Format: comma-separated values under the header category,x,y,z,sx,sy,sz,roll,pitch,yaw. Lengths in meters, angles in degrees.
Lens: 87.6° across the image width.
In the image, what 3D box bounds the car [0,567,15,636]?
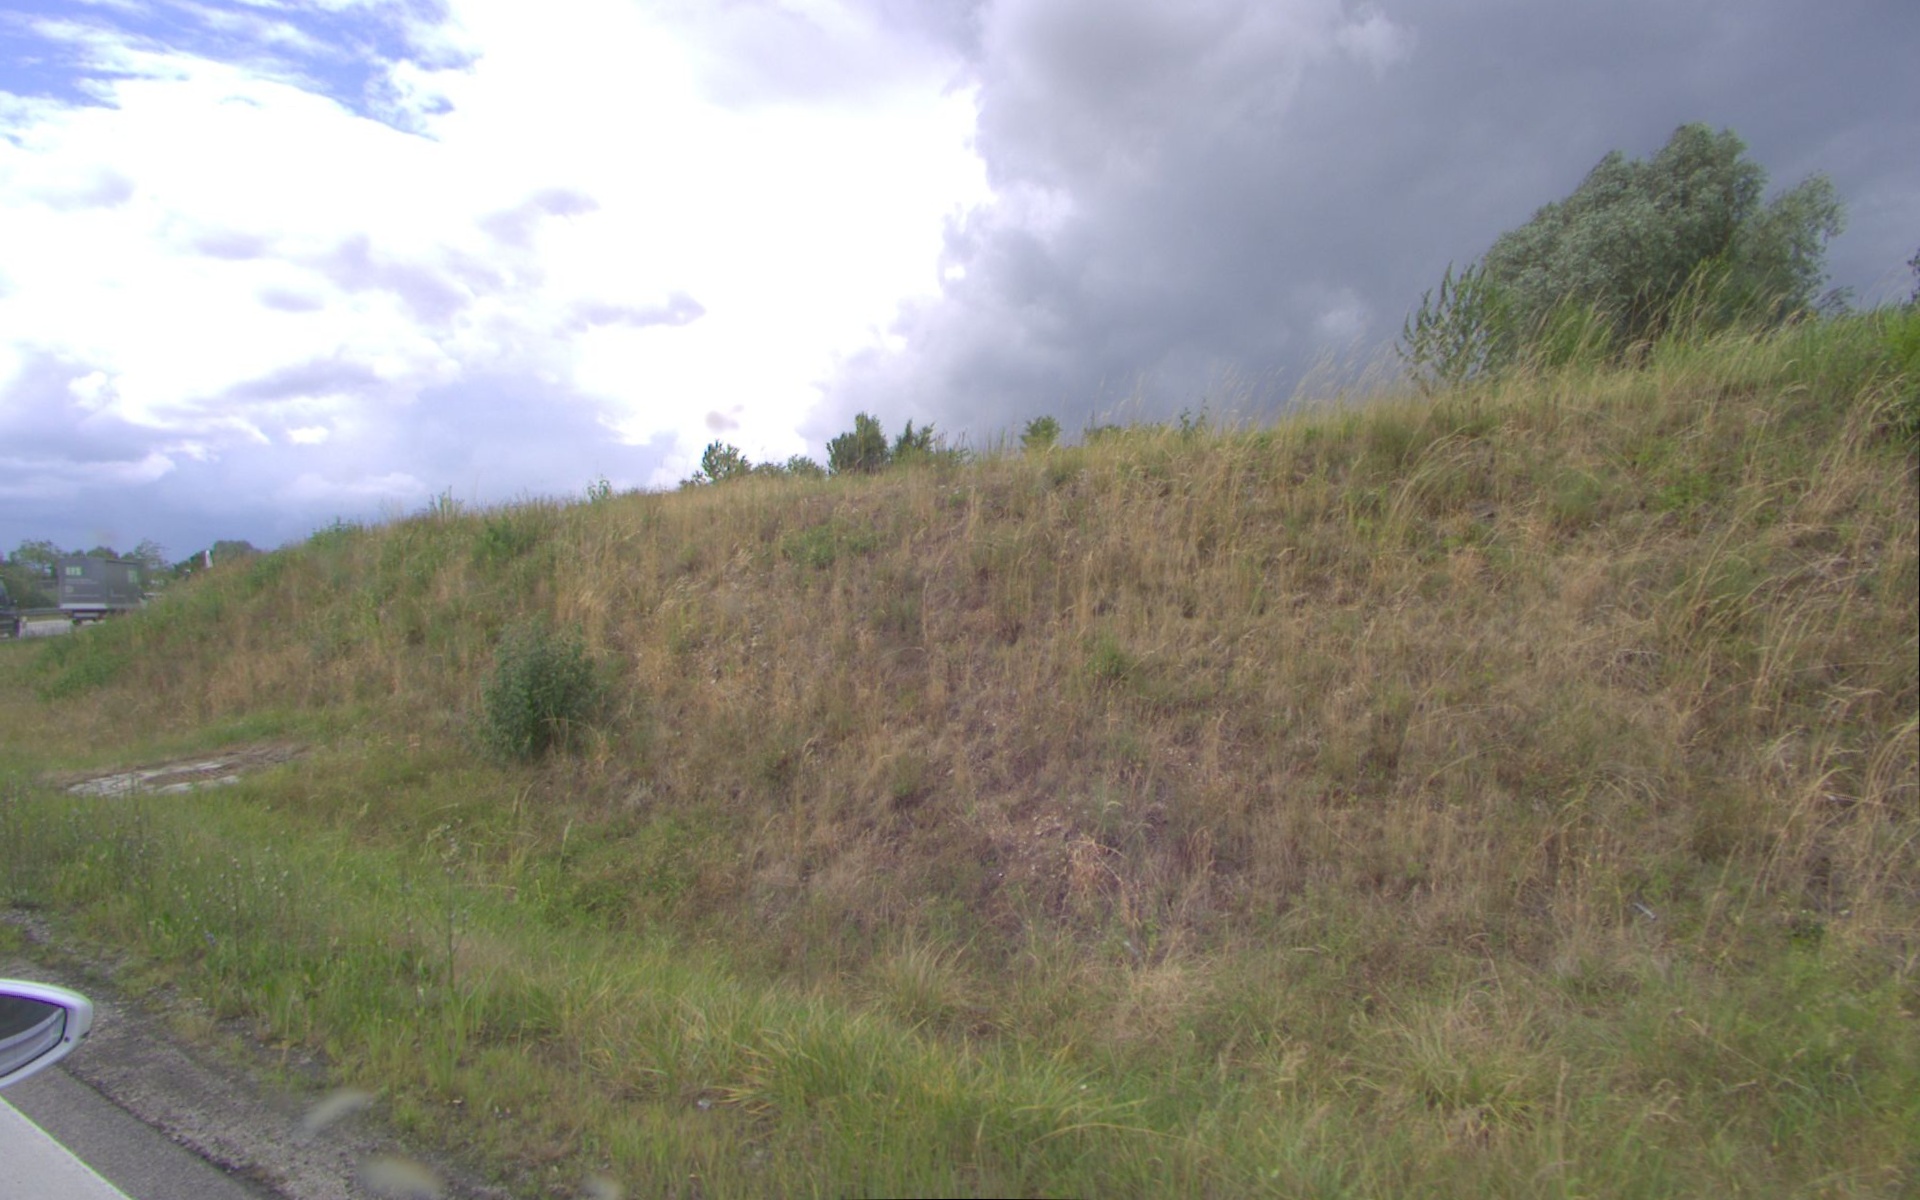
category,x,y,z,sx,sy,sz,roll,pitch,yaw
car,-40.014,0.051,40.249,2.082,2.832,3.978,1,-1,-31

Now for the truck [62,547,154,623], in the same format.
category,x,y,z,sx,sy,sz,roll,pitch,yaw
truck,-48.286,-0.736,56.906,2.199,3.956,6.000,0,-2,-22

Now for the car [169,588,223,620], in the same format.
category,x,y,z,sx,sy,sz,roll,pitch,yaw
car,-51.949,0.307,68.160,1.968,2.039,3.988,0,-2,-24
